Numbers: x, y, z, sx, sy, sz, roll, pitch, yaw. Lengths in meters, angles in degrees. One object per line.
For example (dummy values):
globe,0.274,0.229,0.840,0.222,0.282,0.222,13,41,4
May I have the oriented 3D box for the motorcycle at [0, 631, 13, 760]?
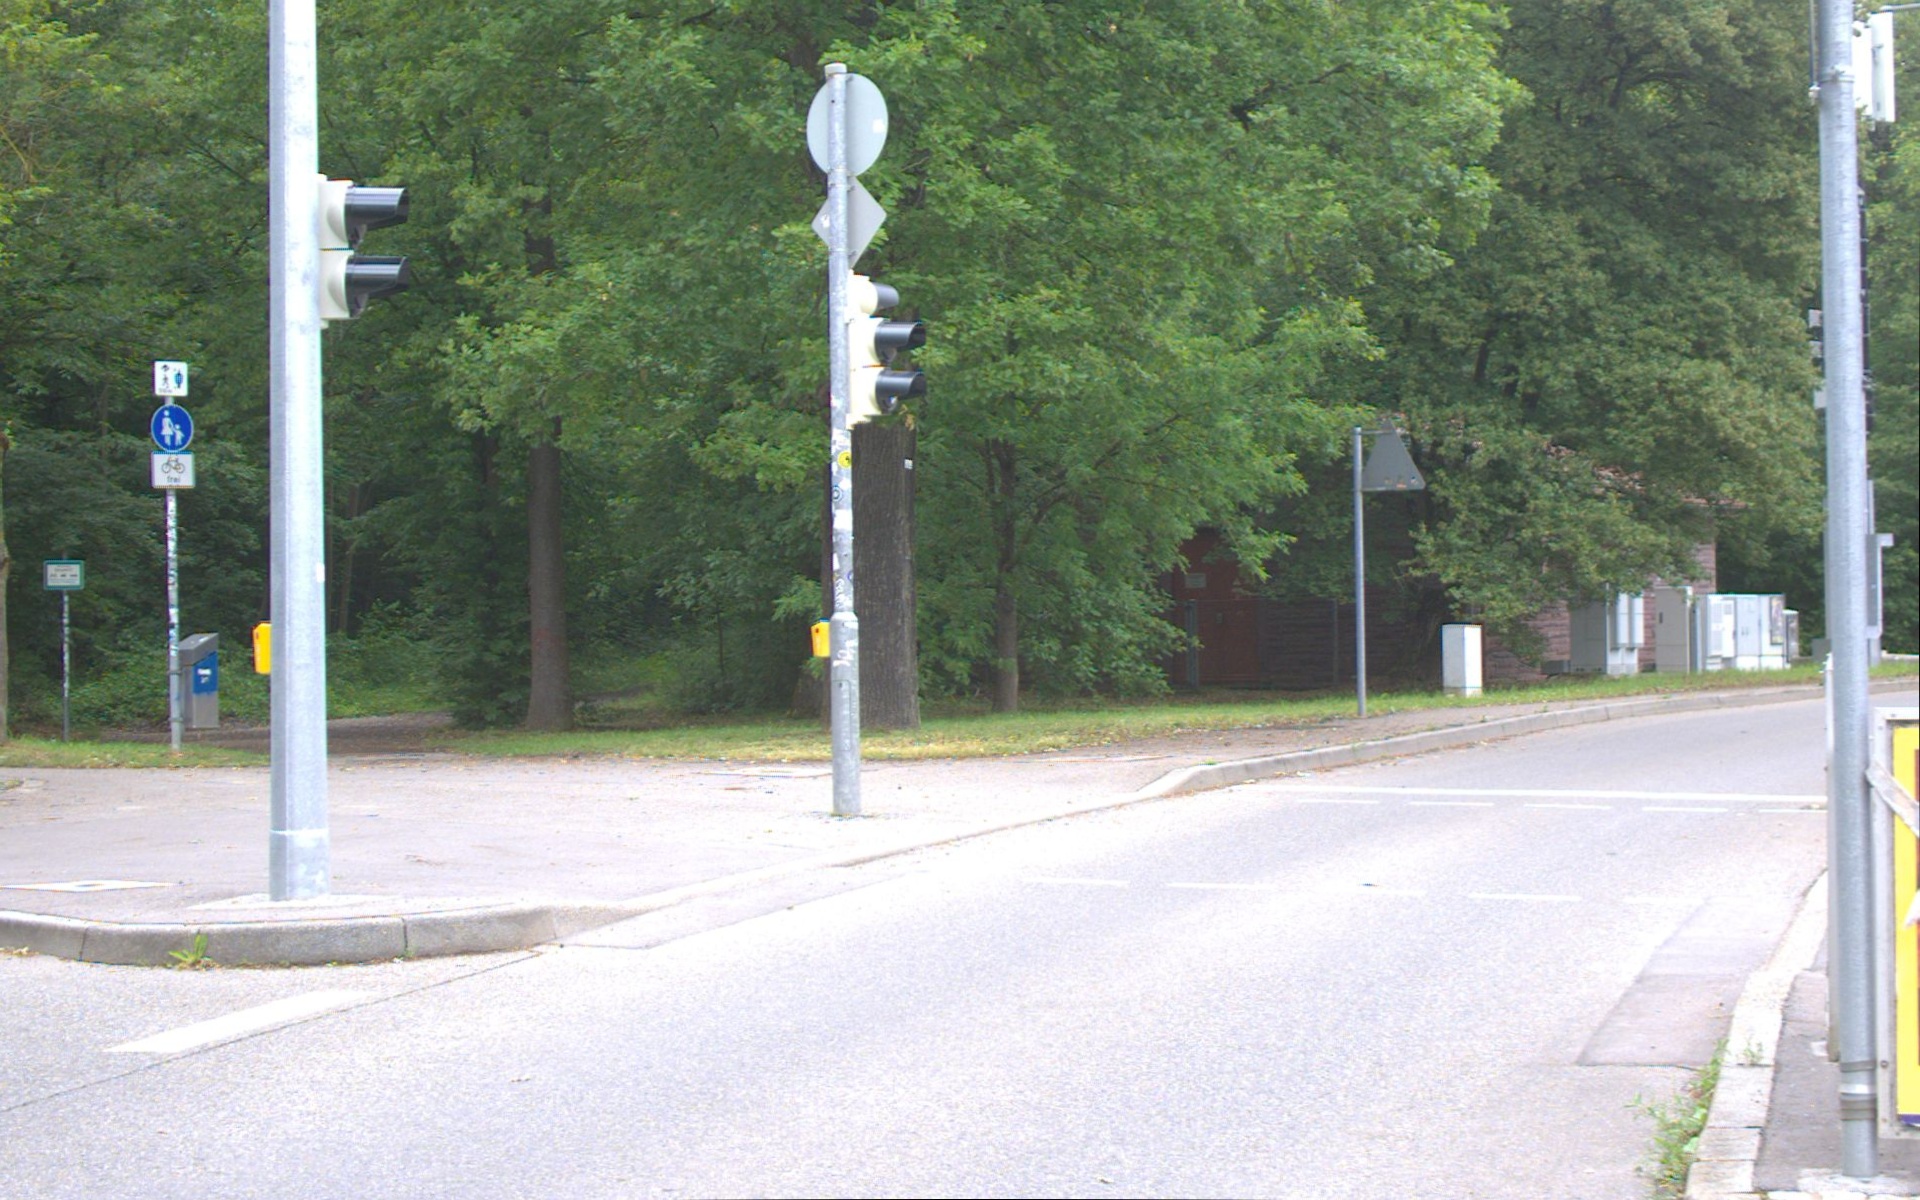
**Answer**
motorcycle,-9.571,0.875,31.267,2.009,1.156,0.675,-1,0,34
